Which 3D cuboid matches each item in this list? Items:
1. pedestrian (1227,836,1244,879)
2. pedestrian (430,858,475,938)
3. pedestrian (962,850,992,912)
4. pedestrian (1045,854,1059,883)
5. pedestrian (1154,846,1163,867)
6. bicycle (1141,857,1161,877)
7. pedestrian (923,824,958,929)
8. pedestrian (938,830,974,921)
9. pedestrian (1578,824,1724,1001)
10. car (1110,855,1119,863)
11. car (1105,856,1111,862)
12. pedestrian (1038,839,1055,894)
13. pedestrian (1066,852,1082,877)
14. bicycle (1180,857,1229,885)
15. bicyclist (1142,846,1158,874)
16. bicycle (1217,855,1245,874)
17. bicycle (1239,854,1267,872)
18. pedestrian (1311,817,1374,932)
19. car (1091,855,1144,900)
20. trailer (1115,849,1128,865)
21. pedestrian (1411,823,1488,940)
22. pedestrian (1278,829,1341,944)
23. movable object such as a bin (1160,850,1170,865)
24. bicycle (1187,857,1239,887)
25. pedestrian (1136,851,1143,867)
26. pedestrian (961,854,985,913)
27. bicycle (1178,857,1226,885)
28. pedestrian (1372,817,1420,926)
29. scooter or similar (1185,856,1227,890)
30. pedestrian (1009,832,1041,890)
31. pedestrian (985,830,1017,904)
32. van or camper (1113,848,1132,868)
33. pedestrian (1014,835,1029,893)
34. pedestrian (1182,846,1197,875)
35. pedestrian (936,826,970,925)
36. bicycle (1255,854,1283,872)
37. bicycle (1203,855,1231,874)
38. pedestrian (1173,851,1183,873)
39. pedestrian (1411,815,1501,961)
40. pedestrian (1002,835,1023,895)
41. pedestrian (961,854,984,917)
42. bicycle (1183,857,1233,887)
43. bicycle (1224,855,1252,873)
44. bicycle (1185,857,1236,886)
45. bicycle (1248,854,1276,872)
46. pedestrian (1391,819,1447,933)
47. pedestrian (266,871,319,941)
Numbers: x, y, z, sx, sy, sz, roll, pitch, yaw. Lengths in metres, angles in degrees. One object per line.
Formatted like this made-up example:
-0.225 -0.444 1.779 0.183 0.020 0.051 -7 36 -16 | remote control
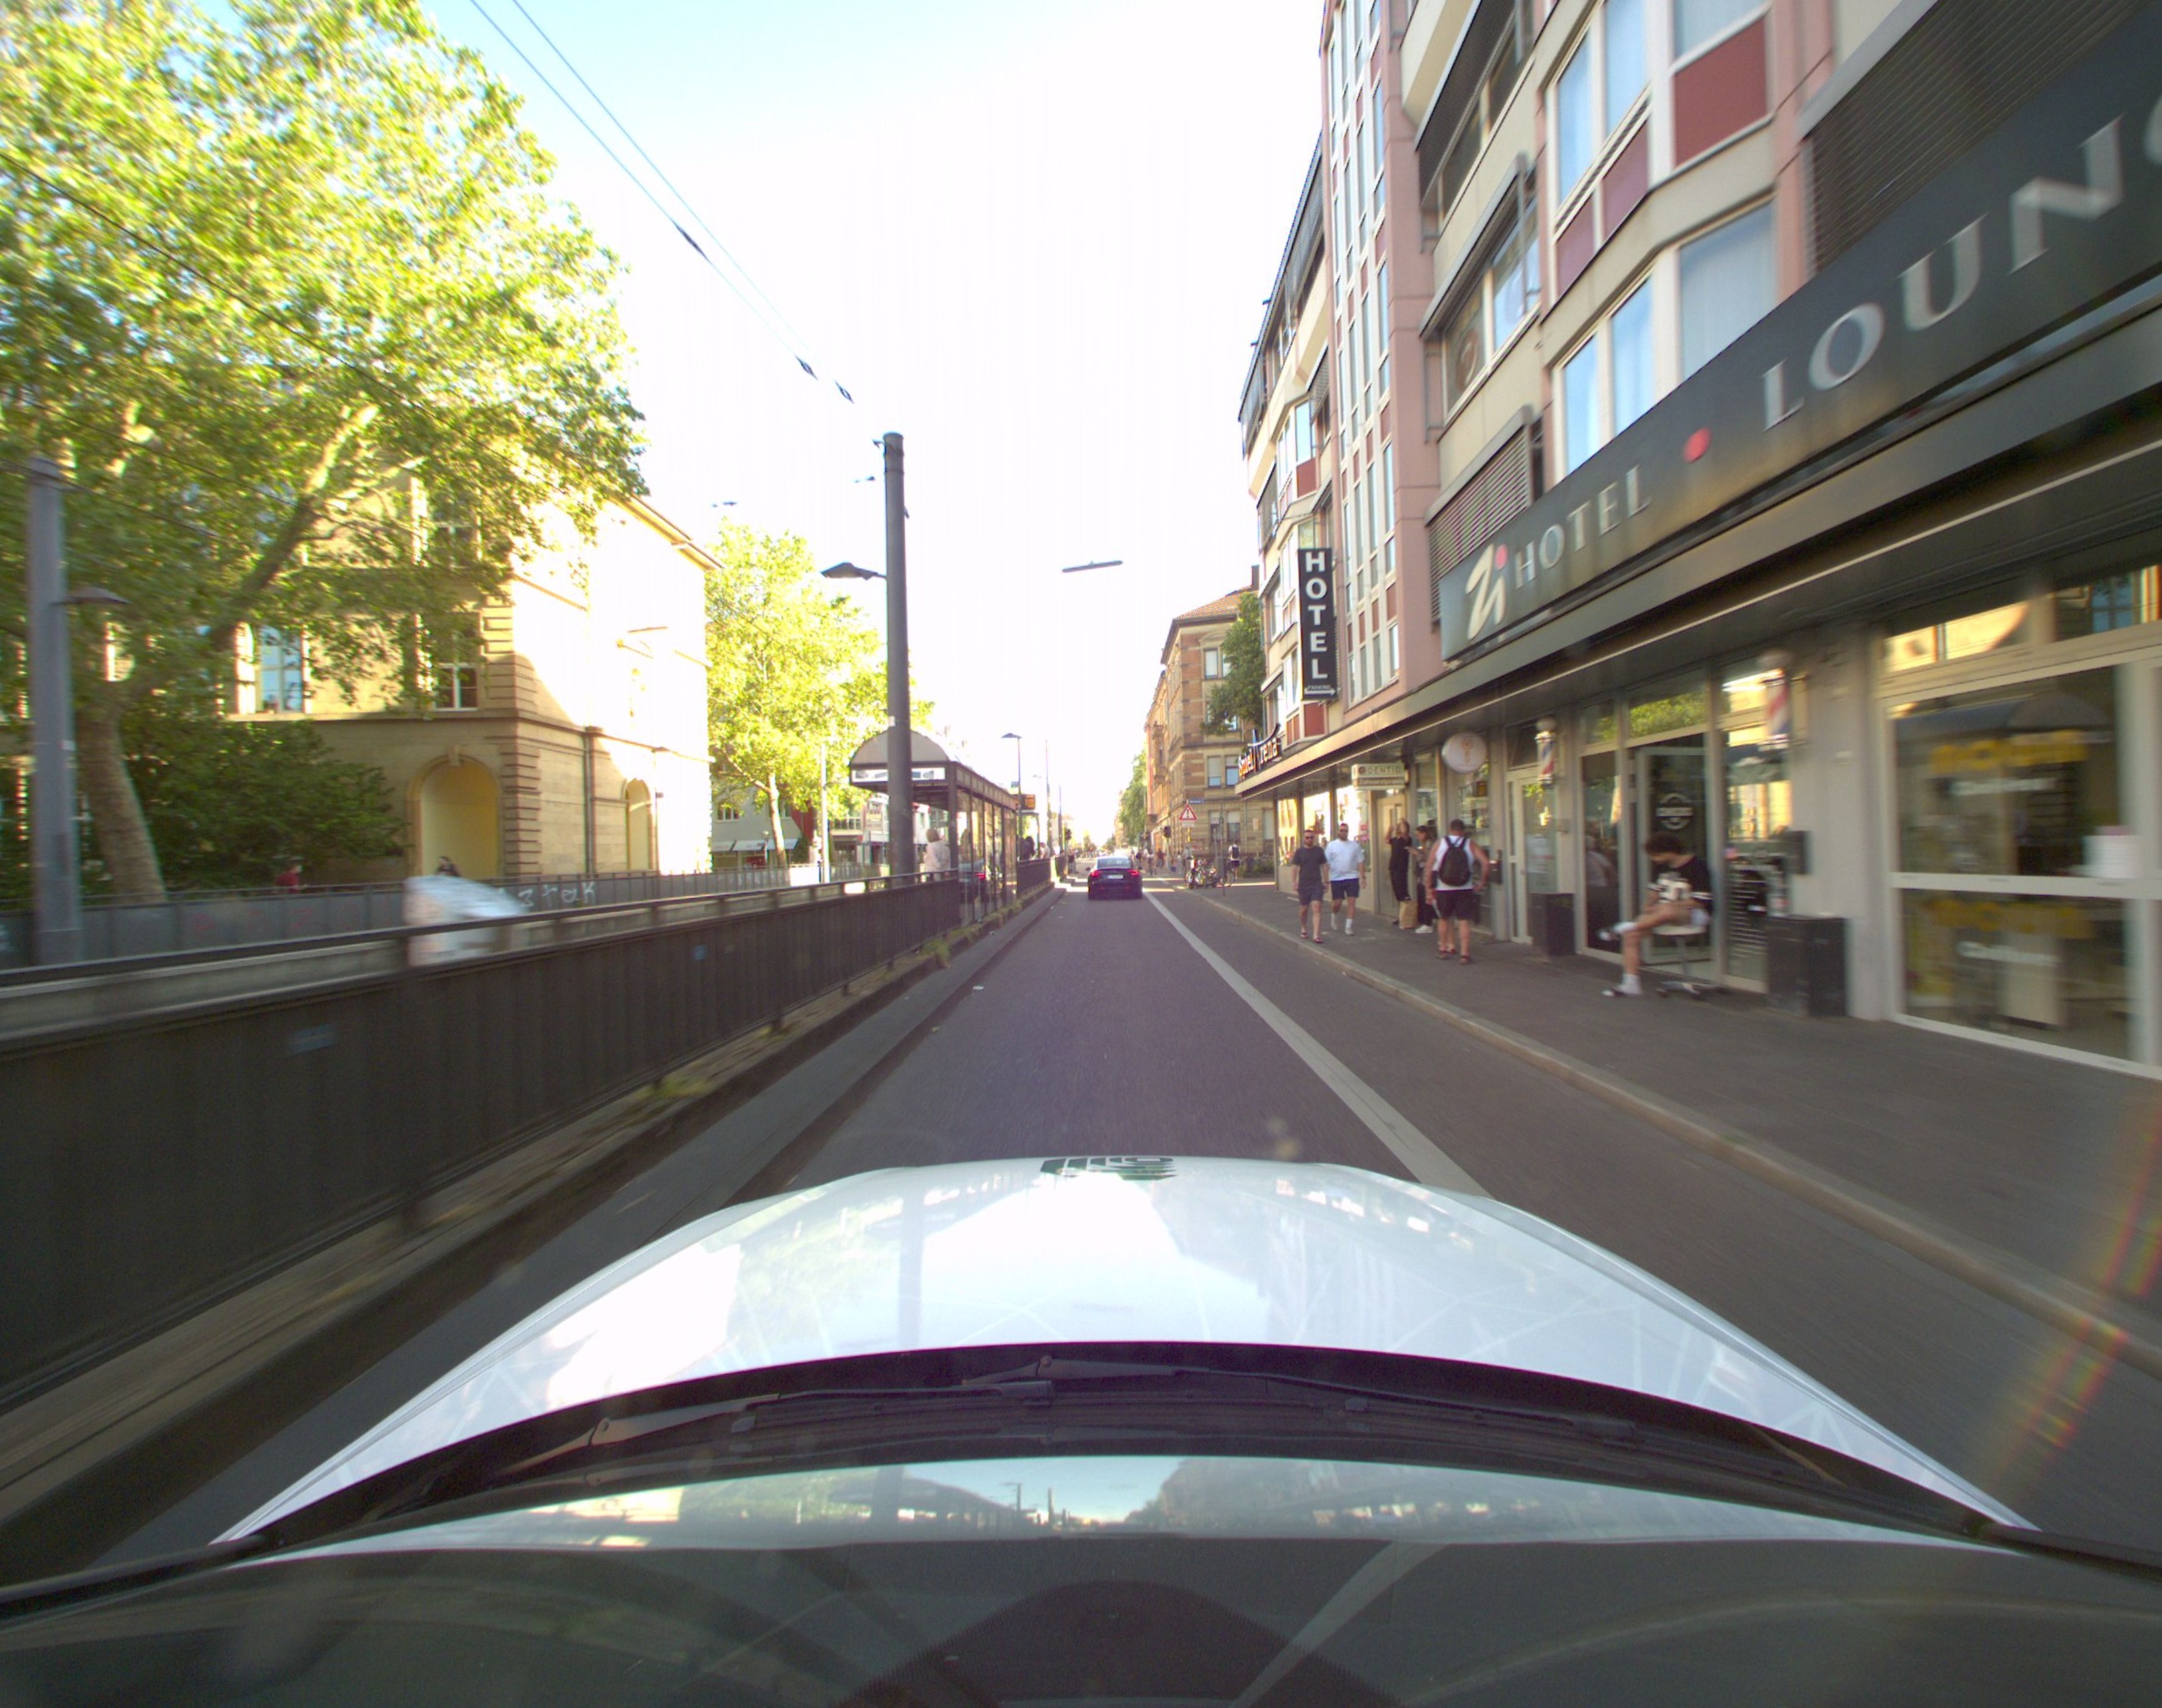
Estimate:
7.331 0.160 38.612 0.712 1.985 0.944 0 -5 6 | pedestrian
-16.264 1.109 21.094 0.689 2.013 0.698 -1 0 -19 | pedestrian
-2.131 0.544 16.680 0.538 1.252 0.460 0 -1 0 | pedestrian
-1.353 0.688 37.913 0.475 1.329 0.356 -2 0 31 | pedestrian
6.488 0.178 67.983 0.465 1.728 0.591 -2 1 37 | pedestrian
4.135 0.767 48.509 0.647 1.139 2.088 -1 0 -11 | bicycle
-2.163 0.340 12.590 0.422 1.573 0.448 -1 0 1 | pedestrian
-2.194 0.375 14.318 0.545 1.572 0.318 0 -1 -36 | pedestrian
5.122 0.506 7.364 0.735 1.472 0.707 -4 0 2 | pedestrian
6.572 1.043 158.952 1.704 1.457 4.551 -1 -1 1 | car
6.999 1.381 209.379 1.587 1.433 3.688 -2 -1 2 | car
-1.356 0.488 31.860 0.536 2.120 0.808 -2 0 1 | pedestrian
-0.443 0.664 51.045 0.836 1.548 0.702 -2 0 16 | pedestrian
5.195 0.715 34.178 1.939 1.107 0.564 -2 0 -1 | bicycle
4.112 0.337 48.579 0.655 1.656 0.924 -1 -1 -11 | bicyclist
9.266 0.645 50.226 0.446 1.115 1.793 -2 0 -39 | bicycle
10.574 0.567 50.180 0.446 1.115 1.793 -2 0 -39 | bicycle
4.350 0.334 13.604 0.703 1.820 0.763 -4 0 1 | pedestrian
1.204 0.765 28.125 1.714 1.405 3.710 0 0 1 | car
5.244 0.406 105.317 1.654 2.117 3.845 0 0 3 | trailer
4.919 0.356 10.892 0.633 1.483 0.654 -4 0 0 | pedestrian
3.642 0.502 13.021 0.665 1.728 0.810 -4 0 1 | pedestrian
7.713 0.356 75.131 0.773 1.347 1.299 -2 -1 0 | movable object such as a bin
5.199 0.694 32.148 1.939 1.107 0.564 -2 0 -1 | bicycle
6.719 0.536 93.775 0.670 1.814 0.756 -1 -1 0 | pedestrian
-2.148 0.584 16.184 0.407 1.152 0.460 0 -1 0 | pedestrian
5.183 0.720 34.826 1.939 1.107 0.564 -2 0 -1 | bicycle
5.538 0.294 14.333 0.449 1.849 0.812 -3 0 1 | pedestrian
4.838 0.720 31.498 1.473 1.229 0.592 -4 0 1 | scooter or similar
-1.820 0.225 26.540 0.775 1.831 0.796 0 -1 -29 | pedestrian
-1.960 0.313 20.034 0.687 1.765 0.748 -1 0 0 | pedestrian
4.466 0.469 87.912 1.924 2.037 5.476 0 -1 1 | van or camper
-1.719 0.280 23.707 0.350 1.669 0.529 -2 0 0 | pedestrian
6.805 0.410 51.082 0.843 1.807 0.878 -2 1 6 | pedestrian
-2.093 0.349 13.326 0.422 1.573 0.593 -1 0 2 | pedestrian
11.682 0.556 50.575 0.446 1.115 1.793 -2 0 -39 | bicycle
8.320 0.648 49.874 0.446 1.115 1.794 -2 0 -39 | bicycle
6.274 0.522 52.477 0.570 1.414 0.583 0 0 14 | pedestrian
4.593 0.400 10.028 0.741 1.727 0.815 0 0 2 | pedestrian
-1.906 0.302 22.834 0.492 1.648 0.590 -1 0 0 | pedestrian
-2.028 0.584 15.276 0.364 1.152 0.460 0 -1 0 | pedestrian
5.204 0.734 33.416 1.939 1.166 0.628 -2 0 -1 | bicycle
9.725 0.617 50.433 0.446 1.115 1.793 -2 0 -39 | bicycle
5.203 0.701 32.762 1.939 1.107 0.564 -2 0 -1 | bicycle
11.193 0.556 50.351 0.446 1.115 1.793 -2 0 -39 | bicycle
5.447 0.349 13.159 0.627 1.769 0.501 -3 0 2 | pedestrian
-19.923 1.303 20.584 0.676 1.712 0.614 -1 0 0 | pedestrian
